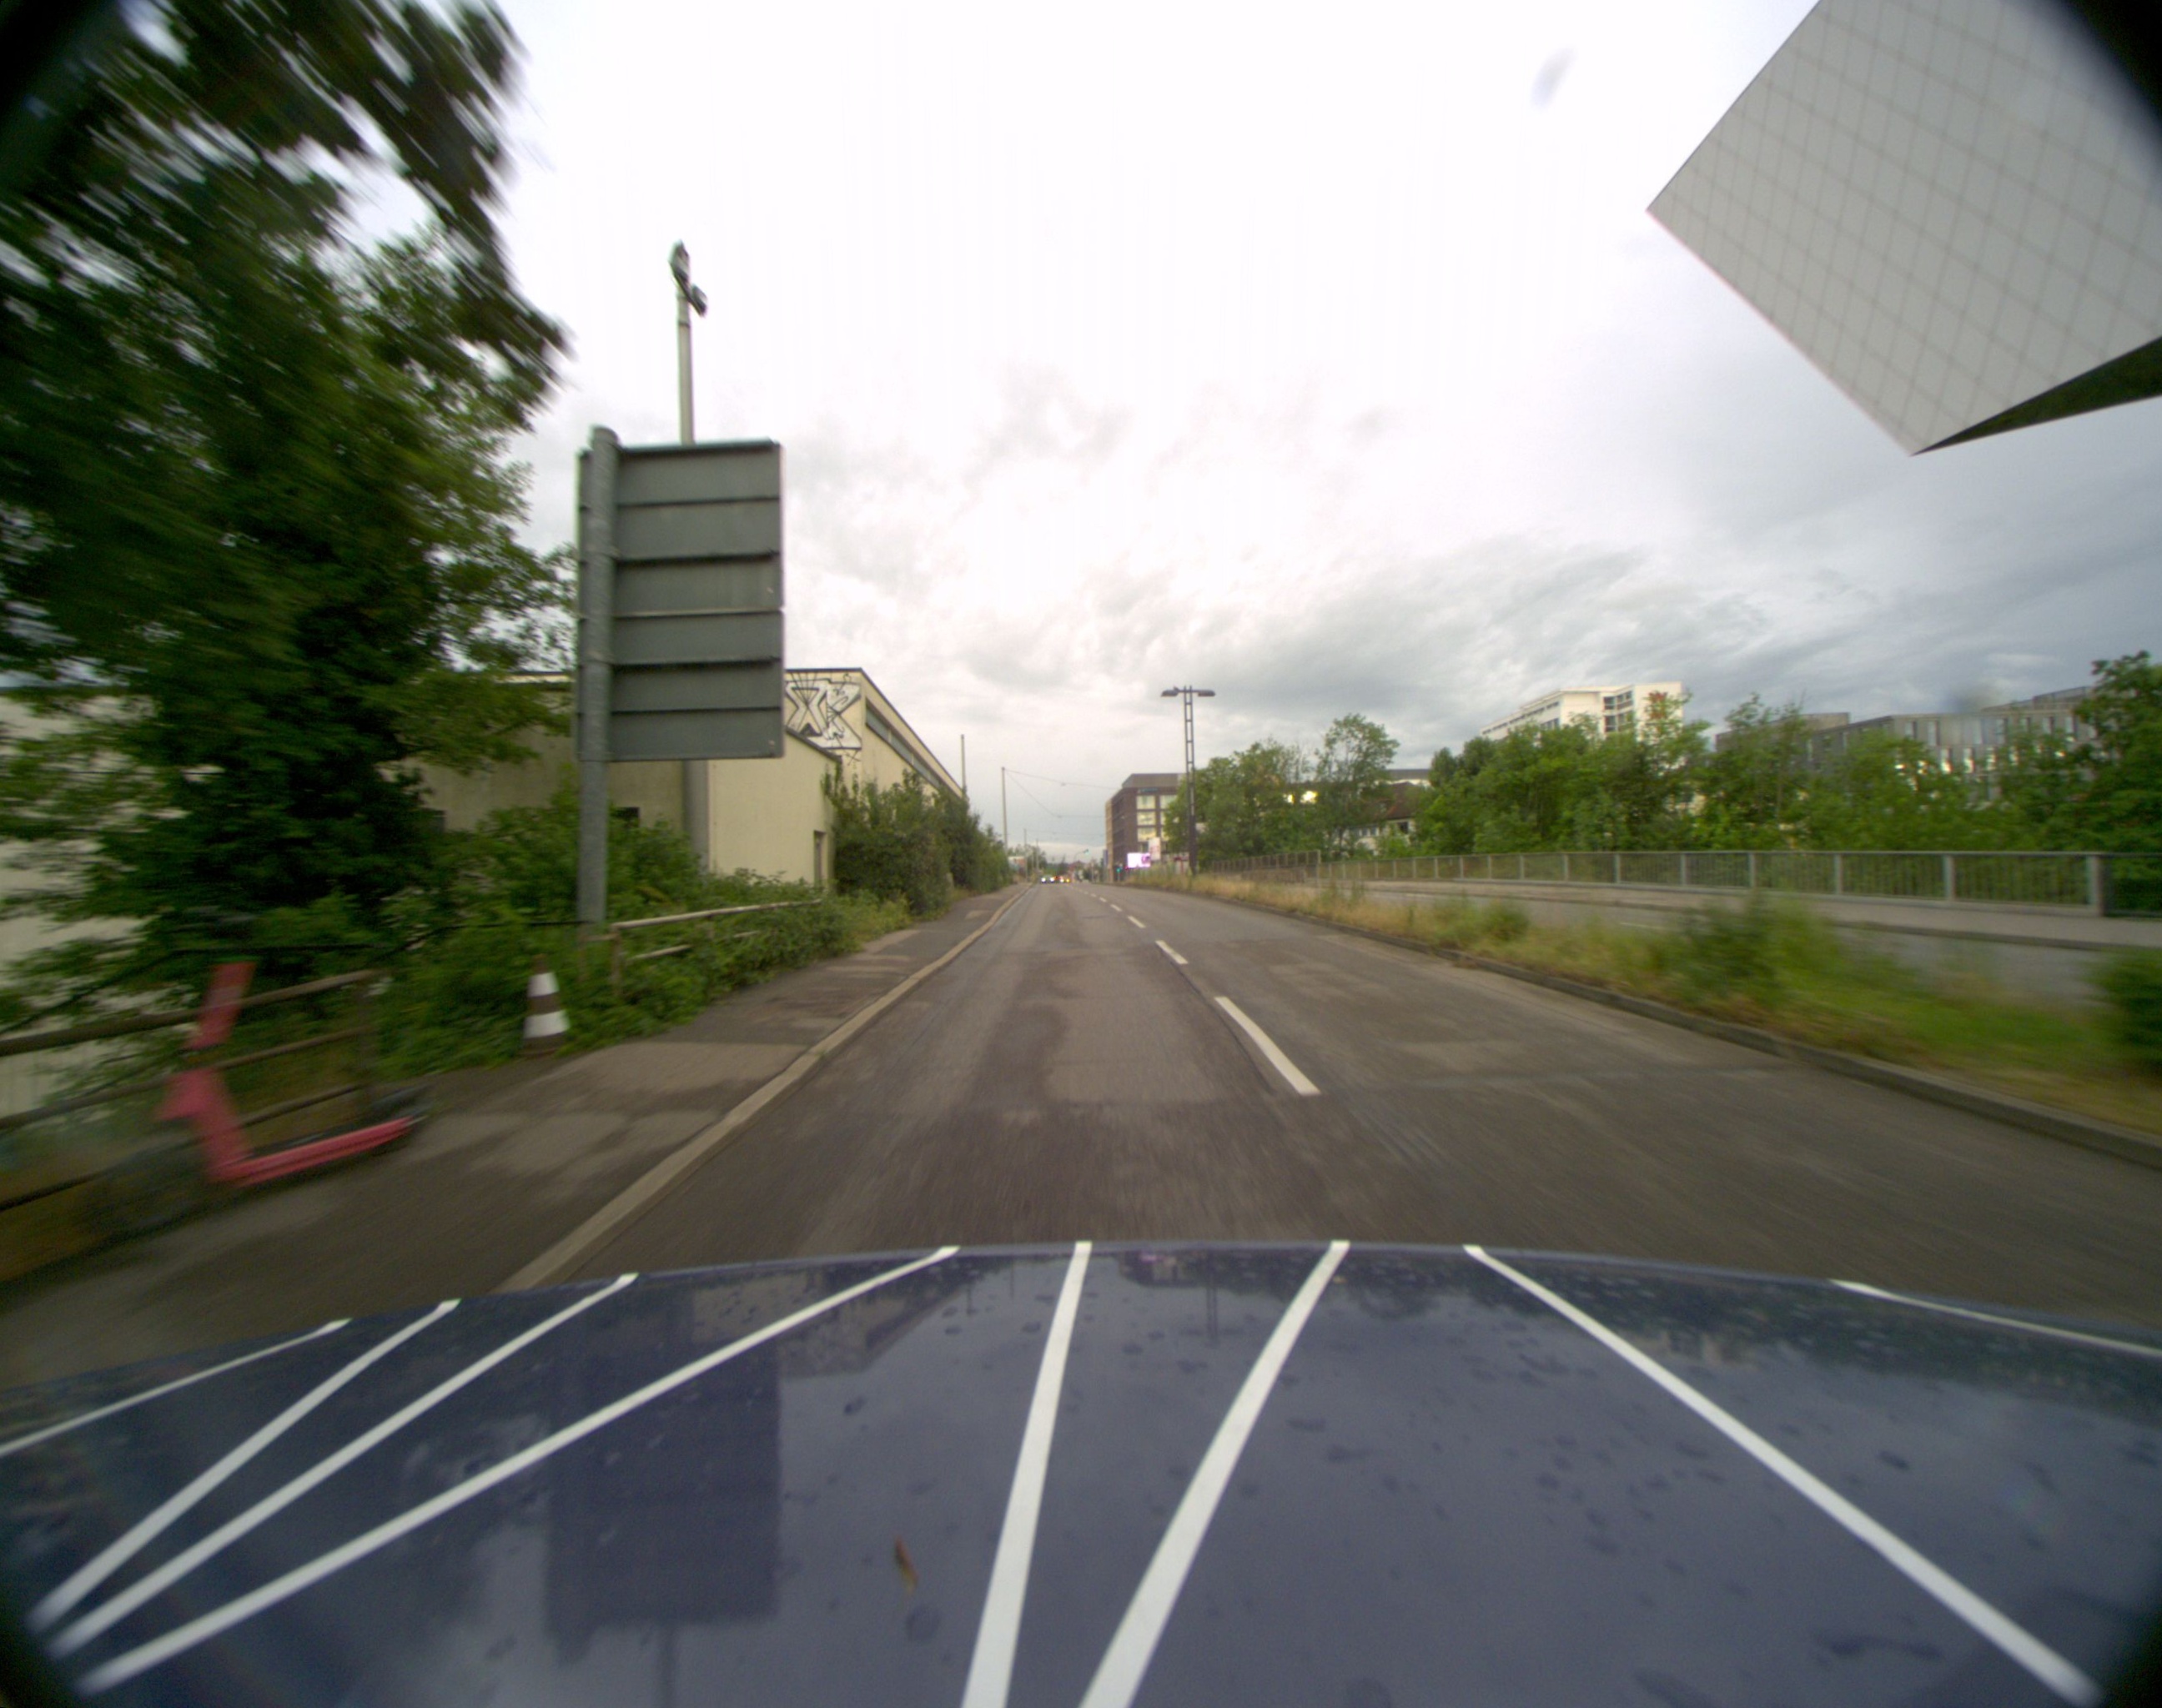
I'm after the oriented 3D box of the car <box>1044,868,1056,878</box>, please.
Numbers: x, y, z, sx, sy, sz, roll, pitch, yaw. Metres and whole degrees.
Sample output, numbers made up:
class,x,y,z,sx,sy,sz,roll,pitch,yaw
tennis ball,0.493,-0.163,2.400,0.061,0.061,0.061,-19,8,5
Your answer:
class,x,y,z,sx,sy,sz,roll,pitch,yaw
car,-5.125,3.184,127.927,1.841,1.574,4.288,-2,0,-1

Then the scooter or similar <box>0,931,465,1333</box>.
class,x,y,z,sx,sy,sz,roll,pitch,yaw
scooter or similar,-3.630,1.033,3.331,0.574,1.201,1.467,-2,1,1
